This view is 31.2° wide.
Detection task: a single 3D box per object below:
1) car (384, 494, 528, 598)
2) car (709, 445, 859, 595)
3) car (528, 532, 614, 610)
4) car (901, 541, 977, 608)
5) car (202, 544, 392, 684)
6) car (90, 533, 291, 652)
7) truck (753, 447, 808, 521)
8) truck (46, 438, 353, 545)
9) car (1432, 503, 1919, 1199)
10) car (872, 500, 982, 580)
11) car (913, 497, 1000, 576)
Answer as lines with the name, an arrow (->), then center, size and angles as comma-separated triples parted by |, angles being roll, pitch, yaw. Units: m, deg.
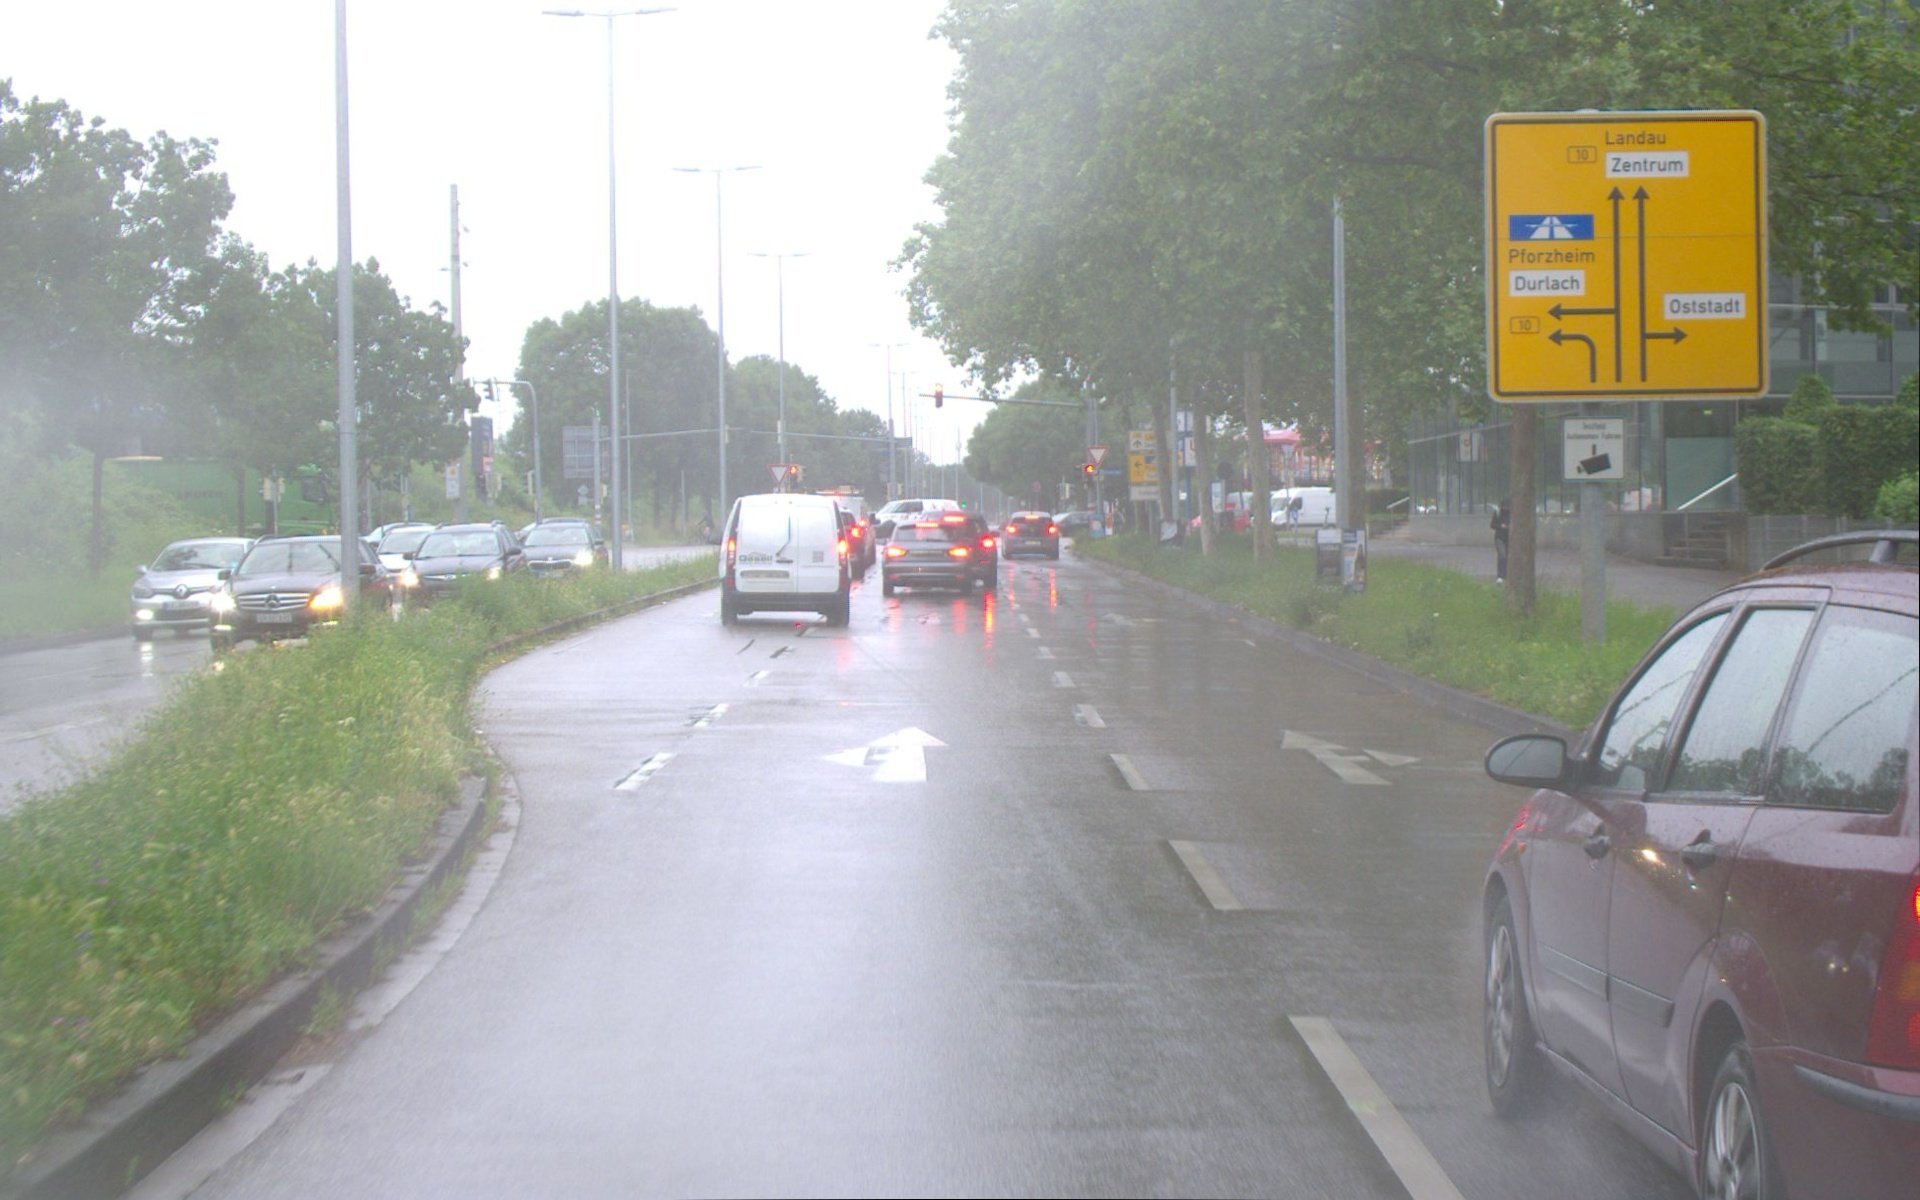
car -> -8.495, -0.944, 58.249 | 1.824, 1.569, 4.360 | 0, 3, 0
car -> -2.420, -1.072, 48.078 | 1.993, 2.007, 4.000 | 0, 0, -2
car -> -8.461, -0.659, 75.028 | 1.720, 1.612, 4.347 | -1, 1, -5
car -> -0.469, -0.608, 79.183 | 1.711, 1.440, 4.000 | 0, 2, 0
car -> -8.362, 0.129, 43.704 | 1.908, 1.569, 4.710 | -3, 2, -6
car -> -11.661, -0.151, 52.419 | 1.908, 1.569, 4.709 | -4, 2, 0
truck -> -6.090, -3.918, 116.860 | 1.756, 2.458, 4.001 | 0, 1, -2
truck -> -26.084, -3.661, 118.314 | 10.110, 3.440, 2.658 | 0, 0, -37
car -> 2.246, 0.582, 7.287 | 1.839, 1.531, 4.112 | 0, 1, -1
car -> -0.652, -1.137, 64.856 | 1.993, 1.447, 4.001 | 0, 1, -2
car -> -0.097, -1.344, 71.277 | 1.708, 1.544, 4.001 | 0, 2, -2
